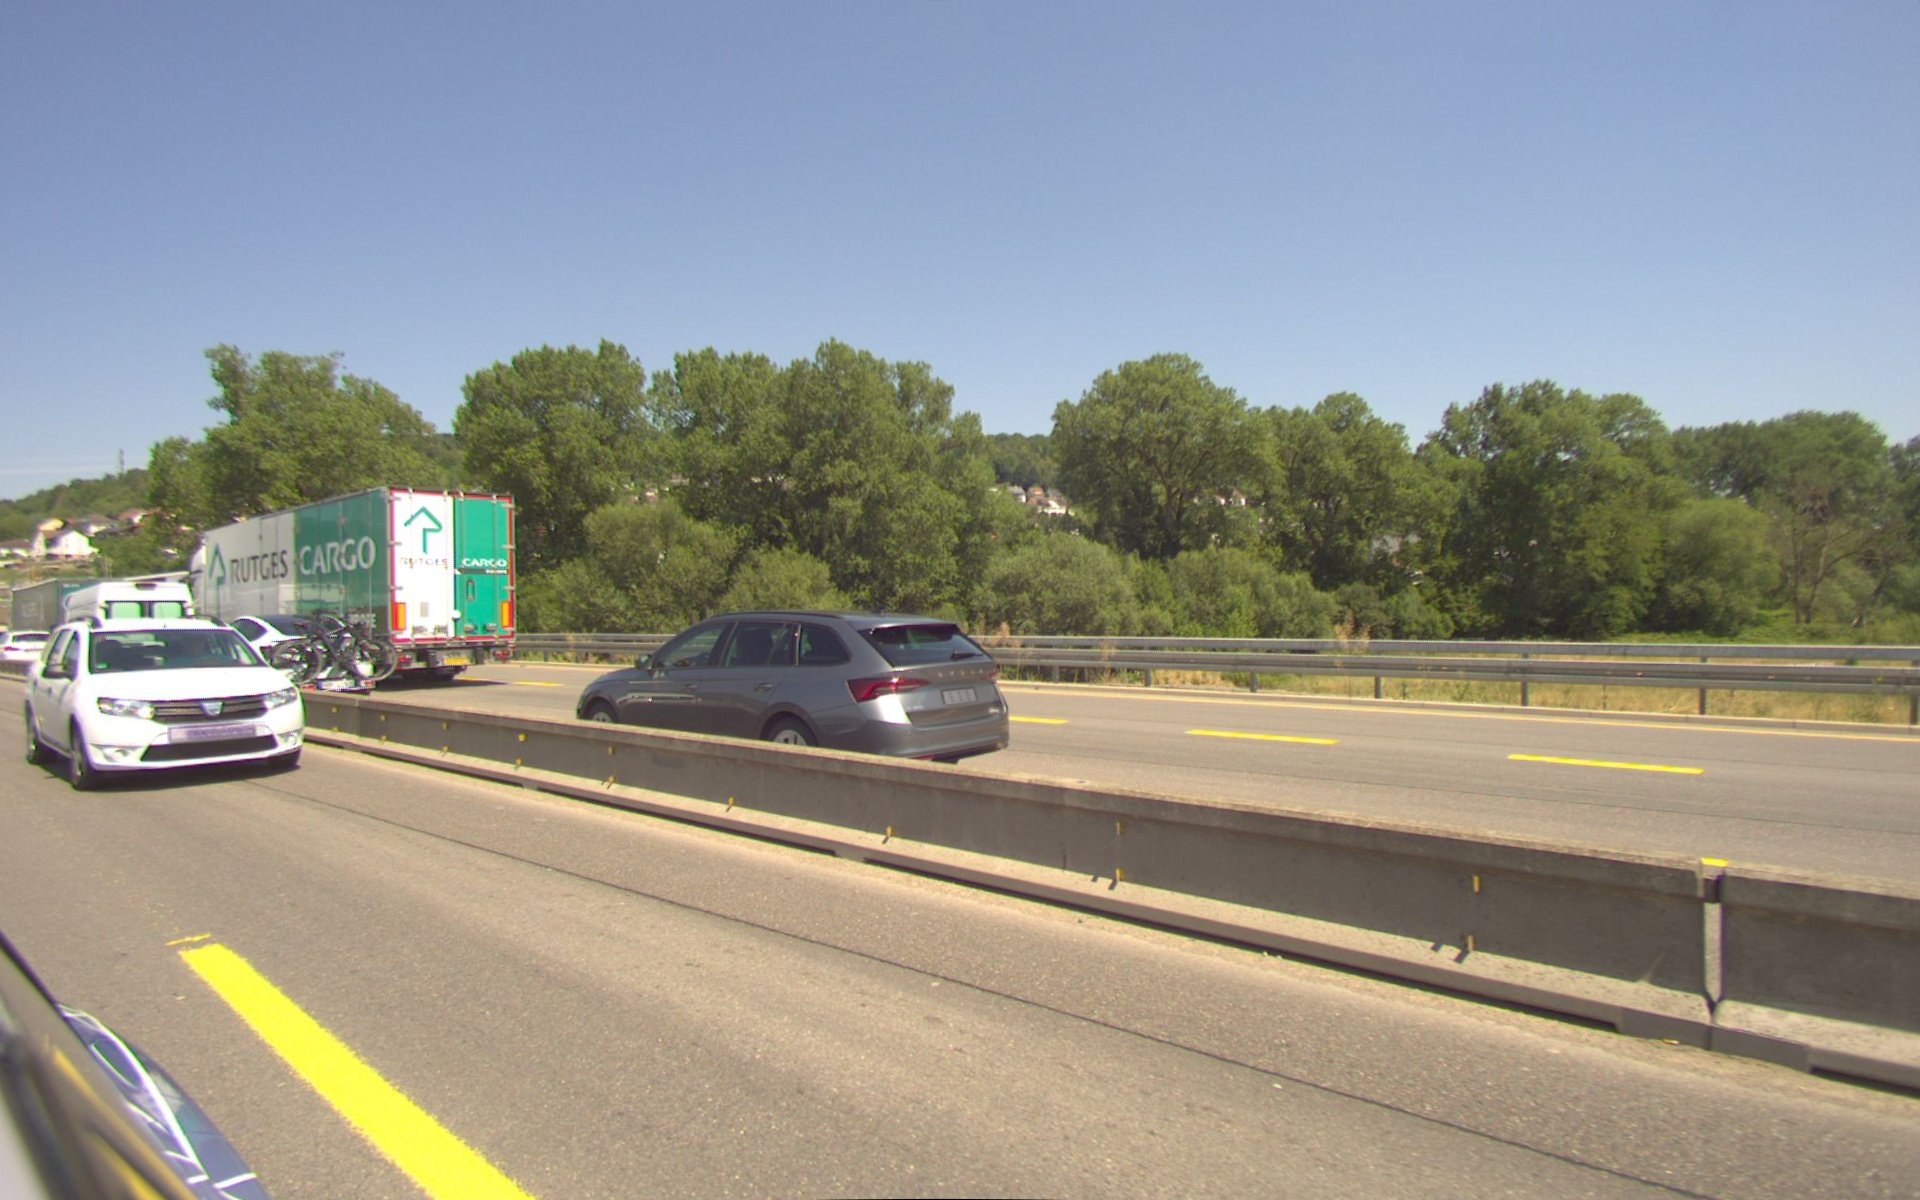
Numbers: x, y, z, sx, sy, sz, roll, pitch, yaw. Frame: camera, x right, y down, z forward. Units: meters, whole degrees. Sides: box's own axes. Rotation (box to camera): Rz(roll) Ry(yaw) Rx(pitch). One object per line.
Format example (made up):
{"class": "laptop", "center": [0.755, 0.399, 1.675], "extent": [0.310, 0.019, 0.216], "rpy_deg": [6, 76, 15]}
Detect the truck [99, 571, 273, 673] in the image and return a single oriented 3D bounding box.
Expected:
{"class": "truck", "center": [-31.870, 0.947, 41.561], "extent": [8.339, 3.793, 2.882], "rpy_deg": [-3, -1, 32]}

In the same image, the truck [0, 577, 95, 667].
{"class": "truck", "center": [-49.496, 1.227, 54.803], "extent": [7.098, 4.571, 3.046], "rpy_deg": [-3, -1, 41]}

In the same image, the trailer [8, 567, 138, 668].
{"class": "trailer", "center": [-44.488, 1.050, 50.541], "extent": [13.010, 4.499, 3.070], "rpy_deg": [-3, -2, 41]}

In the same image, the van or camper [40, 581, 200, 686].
{"class": "van or camper", "center": [-22.811, 0.933, 27.345], "extent": [6.527, 2.530, 2.196], "rpy_deg": [-3, -2, 40]}

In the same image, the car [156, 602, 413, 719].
{"class": "car", "center": [-12.321, 1.037, 18.274], "extent": [5.776, 1.739, 2.348], "rpy_deg": [-3, -1, 40]}

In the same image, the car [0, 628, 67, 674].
{"class": "car", "center": [-34.621, 1.891, 37.225], "extent": [4.971, 1.509, 1.973], "rpy_deg": [-3, -1, 40]}

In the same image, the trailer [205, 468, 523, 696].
{"class": "trailer", "center": [-15.361, -0.219, 25.197], "extent": [13.160, 4.464, 2.786], "rpy_deg": [-2, -1, 41]}

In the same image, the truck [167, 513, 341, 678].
{"class": "truck", "center": [-21.123, -0.010, 30.159], "extent": [6.220, 4.426, 2.777], "rpy_deg": [-3, -2, 41]}

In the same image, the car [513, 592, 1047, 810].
{"class": "car", "center": [-1.852, 0.746, 9.078], "extent": [5.120, 1.443, 1.863], "rpy_deg": [-2, -3, 40]}

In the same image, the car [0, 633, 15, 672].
{"class": "car", "center": [-43.791, 2.401, 45.212], "extent": [4.151, 1.659, 1.739], "rpy_deg": [-3, 0, 40]}

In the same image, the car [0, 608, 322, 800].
{"class": "car", "center": [-8.397, 0.924, 10.444], "extent": [4.703, 1.542, 1.800], "rpy_deg": [-2, -2, 41]}
